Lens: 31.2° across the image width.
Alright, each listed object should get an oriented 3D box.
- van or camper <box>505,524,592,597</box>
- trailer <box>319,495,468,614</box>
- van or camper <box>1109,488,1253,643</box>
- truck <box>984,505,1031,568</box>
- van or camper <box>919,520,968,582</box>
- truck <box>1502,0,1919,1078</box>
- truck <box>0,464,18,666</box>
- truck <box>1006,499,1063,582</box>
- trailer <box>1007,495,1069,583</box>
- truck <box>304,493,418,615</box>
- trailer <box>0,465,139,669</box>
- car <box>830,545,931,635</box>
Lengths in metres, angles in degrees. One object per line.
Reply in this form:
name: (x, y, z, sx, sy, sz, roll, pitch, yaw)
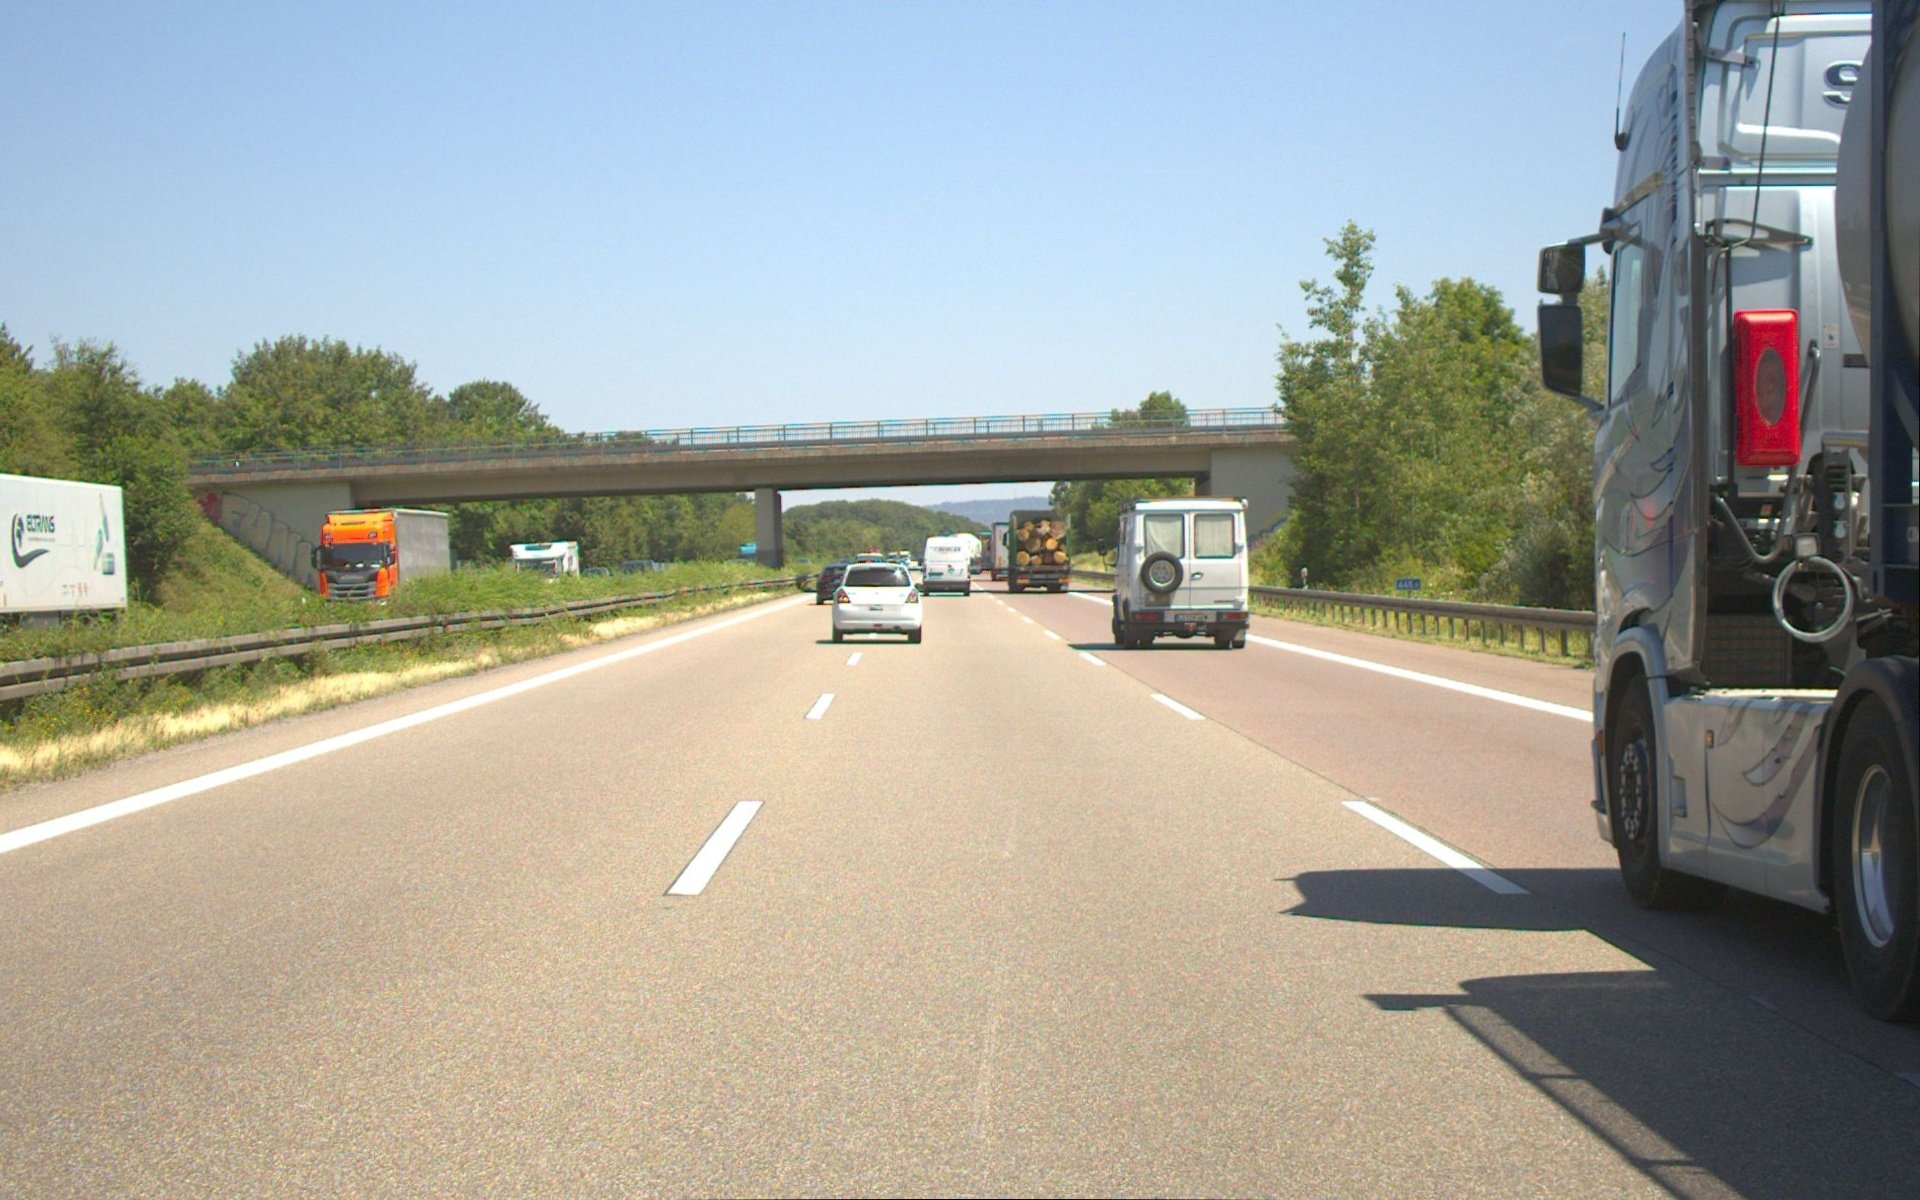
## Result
van or camper: (-17.167, -1.651, 143.796, 2.613, 2.956, 7.859, 1, 1, 1)
trailer: (-21.395, -1.719, 130.788, 3.144, 4.234, 14.479, 1, 1, 0)
van or camper: (3.957, -0.629, 62.652, 2.113, 2.694, 6.368, 0, 1, -1)
truck: (3.304, -4.356, 240.222, 3.079, 4.194, 16.843, 1, 1, 1)
van or camper: (-0.687, -2.086, 147.929, 2.058, 2.613, 5.985, 0, 1, 0)
truck: (4.269, -0.582, 10.736, 2.798, 4.032, 13.355, 1, 1, -1)
truck: (-21.253, -0.725, 68.773, 3.194, 4.134, 5.944, 1, 1, -1)
truck: (3.630, -2.875, 167.715, 2.670, 3.981, 6.636, 0, 1, 0)
trailer: (3.594, -2.827, 160.633, 2.653, 3.945, 13.636, 0, 1, 0)
truck: (-21.416, -1.644, 123.085, 3.137, 4.217, 5.176, 1, 0, 0)
trailer: (-21.298, -0.759, 76.163, 3.175, 4.176, 12.988, 1, 1, -1)
car: (-1.529, -0.213, 65.981, 1.857, 1.646, 4.000, 1, 1, -1)
